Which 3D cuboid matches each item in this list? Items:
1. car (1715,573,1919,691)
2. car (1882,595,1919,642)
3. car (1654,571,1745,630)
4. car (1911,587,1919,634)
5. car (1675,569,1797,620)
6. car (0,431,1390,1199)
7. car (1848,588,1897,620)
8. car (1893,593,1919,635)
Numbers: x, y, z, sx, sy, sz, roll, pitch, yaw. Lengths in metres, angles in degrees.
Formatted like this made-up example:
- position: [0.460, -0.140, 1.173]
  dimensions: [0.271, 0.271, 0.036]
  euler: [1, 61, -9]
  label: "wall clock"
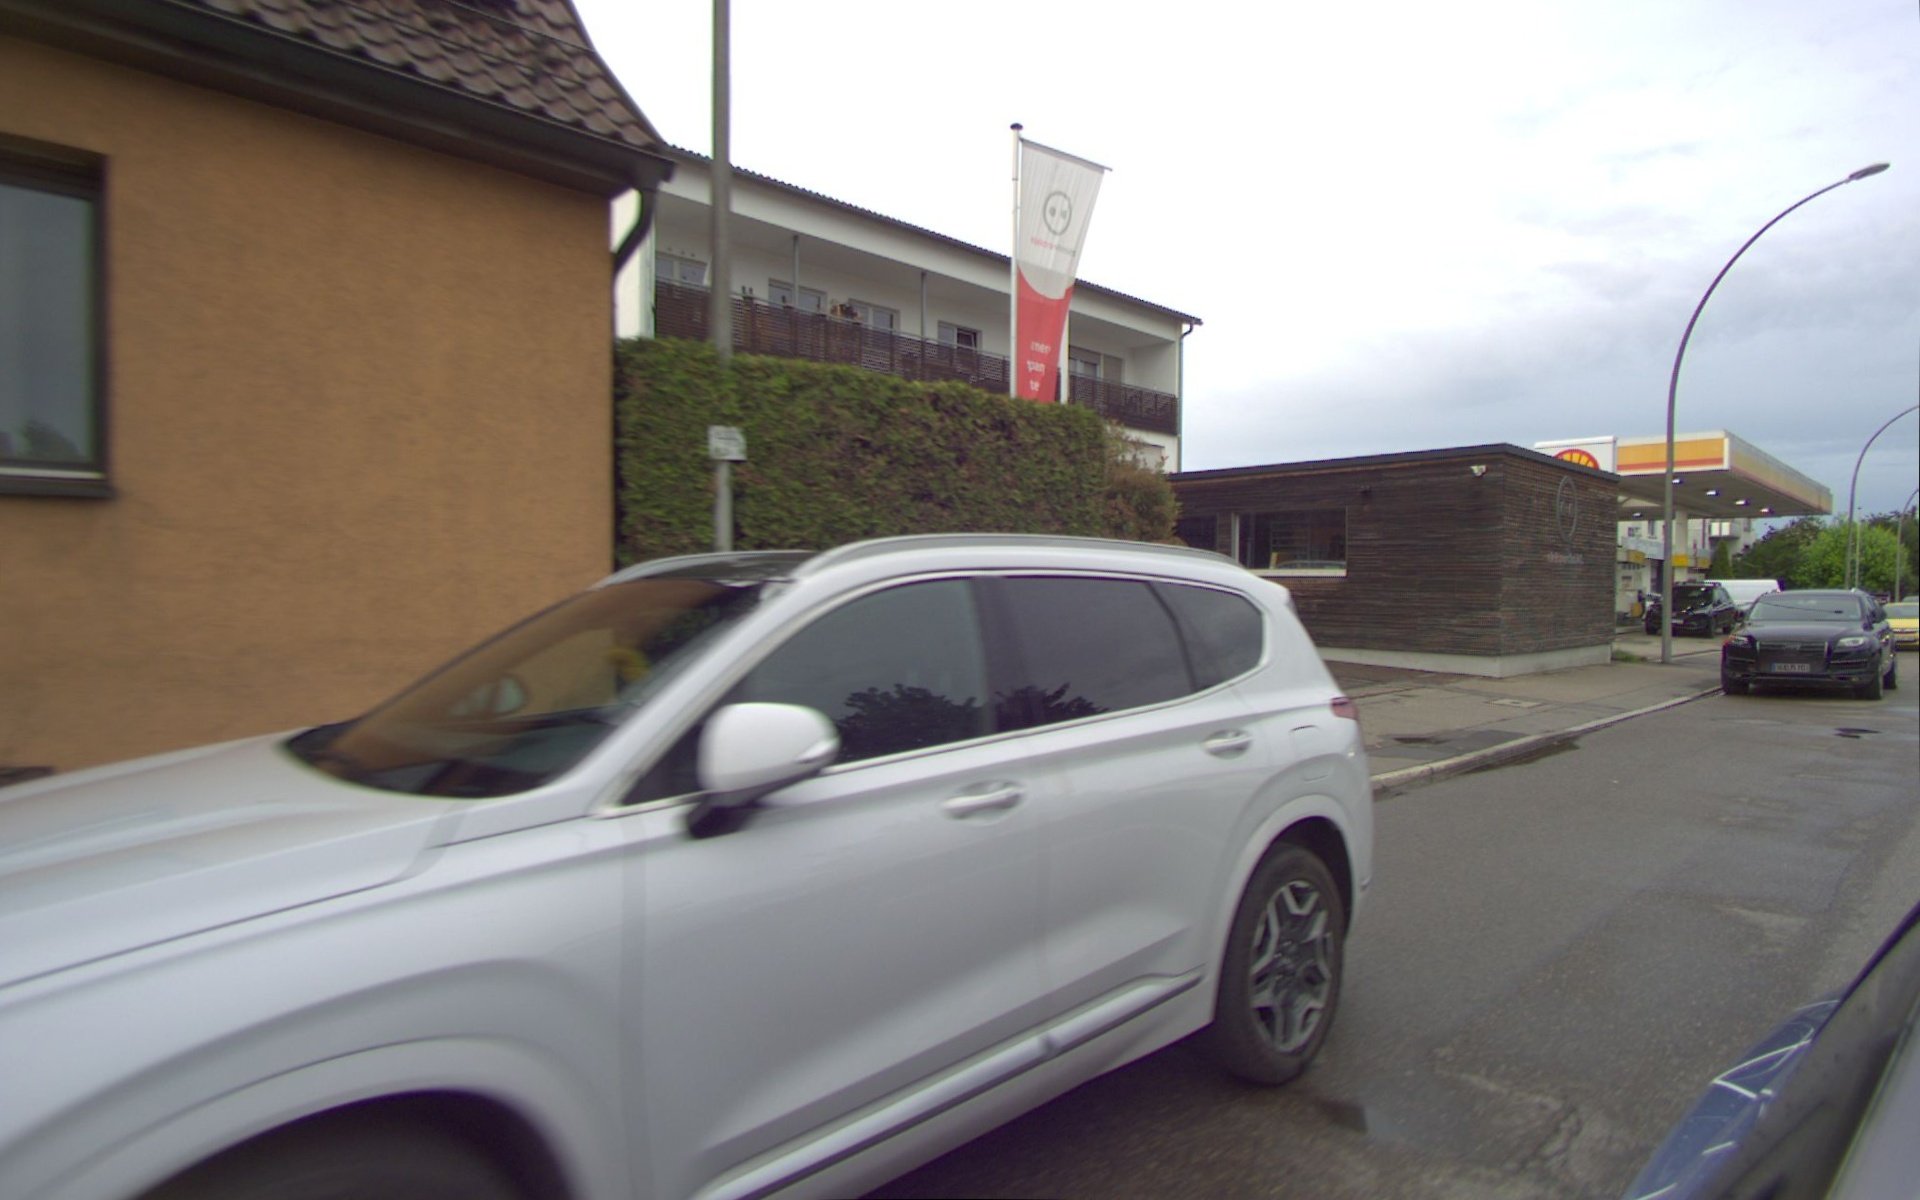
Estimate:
- position: [14.330, 0.485, 16.761]
  dimensions: [4.480, 1.683, 2.094]
  euler: [1, -1, -42]
  label: "car"
- position: [30.038, 0.552, 31.536]
  dimensions: [3.737, 1.419, 1.658]
  euler: [0, 1, -43]
  label: "car"
- position: [24.488, -0.003, 33.465]
  dimensions: [1.821, 1.781, 3.936]
  euler: [4, 3, 45]
  label: "car"
- position: [37.848, 0.364, 38.826]
  dimensions: [4.370, 1.760, 1.657]
  euler: [0, -1, -43]
  label: "car"
- position: [41.120, -0.309, 53.778]
  dimensions: [4.756, 2.552, 2.227]
  euler: [1, 0, 26]
  label: "car"
- position: [-0.617, 0.634, 2.900]
  dimensions: [4.247, 1.686, 1.868]
  euler: [0, 0, -43]
  label: "car"
- position: [51.708, 0.201, 57.323]
  dimensions: [1.993, 1.704, 3.938]
  euler: [1, 1, 43]
  label: "car"
- position: [33.370, 0.466, 34.770]
  dimensions: [3.957, 1.394, 1.658]
  euler: [0, 1, -43]
  label: "car"
